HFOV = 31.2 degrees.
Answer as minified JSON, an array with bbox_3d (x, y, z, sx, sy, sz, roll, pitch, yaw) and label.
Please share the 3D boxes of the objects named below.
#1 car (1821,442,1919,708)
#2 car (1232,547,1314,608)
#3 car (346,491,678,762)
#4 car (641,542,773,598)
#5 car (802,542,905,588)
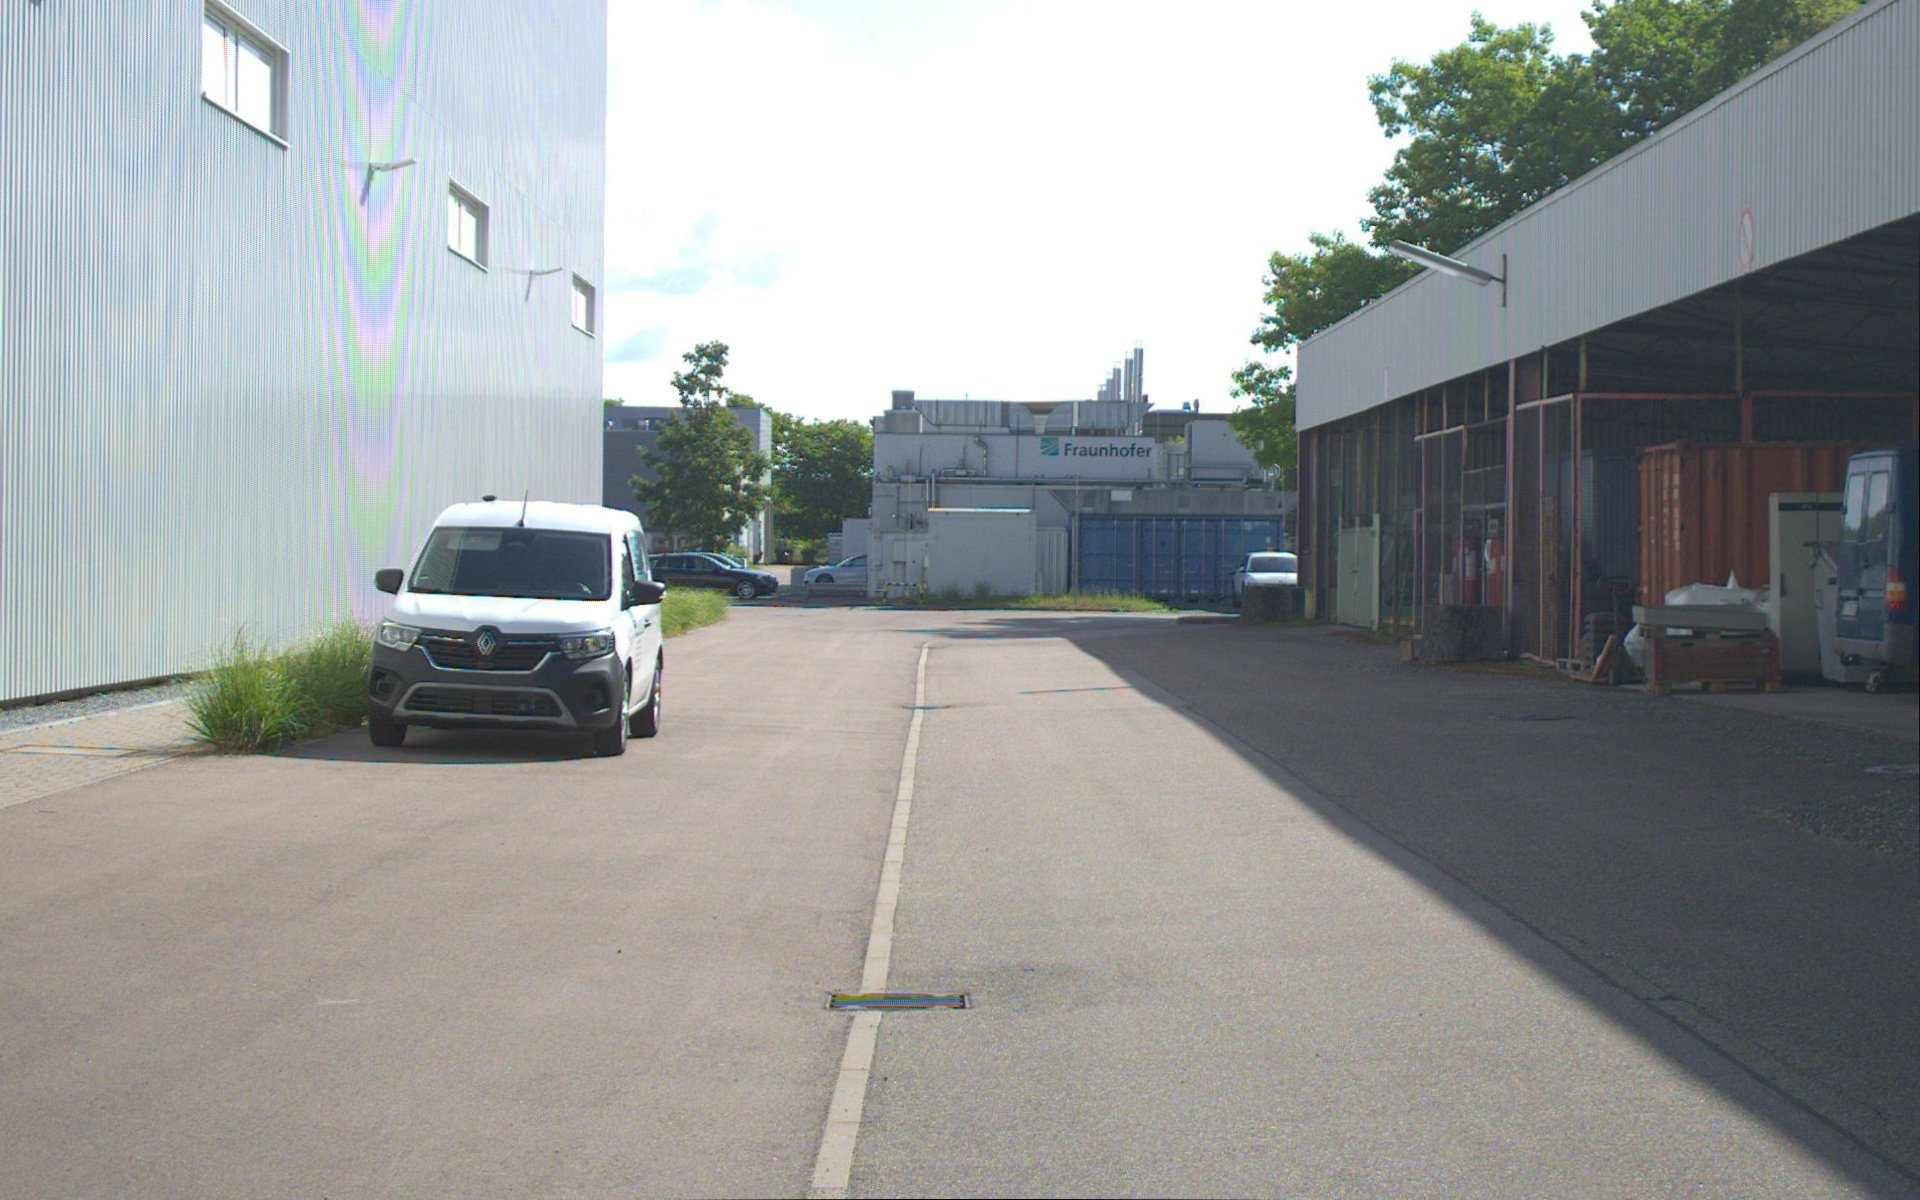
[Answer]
[{"bbox_3d":[10.211,-0.131,30.842,4.433,2.302,1.915,2,-1,1],"label":"car"},{"bbox_3d":[8.657,-0.640,95.325,1.962,1.559,4.059,2,1,2],"label":"car"},{"bbox_3d":[-3.226,0.134,25.572,1.818,1.781,4.405,2,1,0],"label":"car"},{"bbox_3d":[-7.901,-0.933,107.806,3.987,1.592,1.742,2,-1,-1],"label":"car"},{"bbox_3d":[-4.198,-1.378,135.671,3.987,1.592,1.848,2,-1,-1],"label":"car"}]
